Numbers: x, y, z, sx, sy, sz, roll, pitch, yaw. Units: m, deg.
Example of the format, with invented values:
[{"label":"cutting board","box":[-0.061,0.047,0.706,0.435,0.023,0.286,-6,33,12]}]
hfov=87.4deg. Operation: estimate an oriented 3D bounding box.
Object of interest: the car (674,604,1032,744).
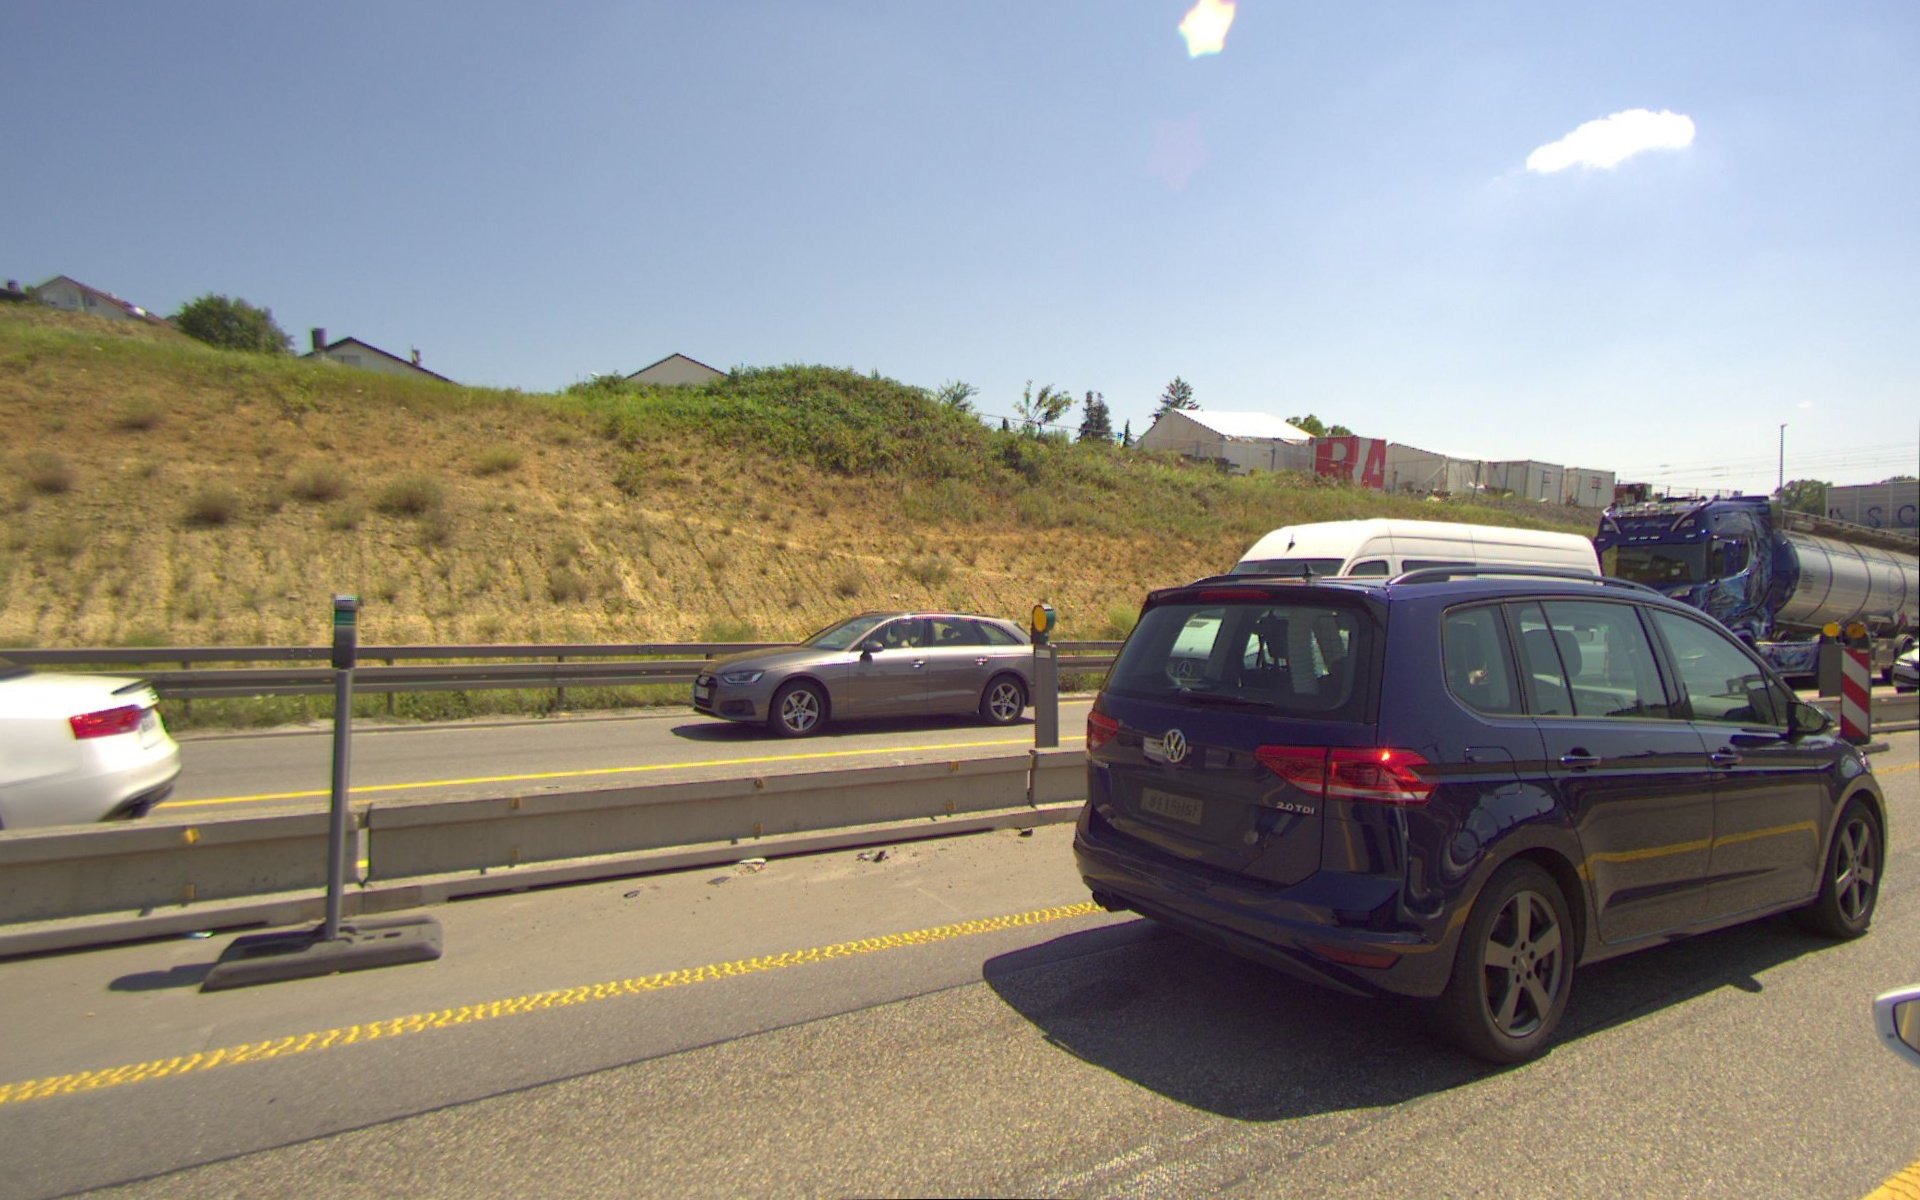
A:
[{"label":"car","box":[-1.279,0.814,12.487,4.079,1.466,1.756,1,0,-30]}]

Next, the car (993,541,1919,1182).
[{"label":"car","box":[2.550,0.688,4.669,4.598,1.741,1.767,-1,1,-31]}]

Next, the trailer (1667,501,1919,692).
[{"label":"trailer","box":[22.039,-0.028,25.163,11.308,4.069,2.337,1,0,-29]}]

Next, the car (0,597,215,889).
[{"label":"car","box":[-6.628,0.710,4.987,4.588,1.466,1.789,1,0,-34]}]

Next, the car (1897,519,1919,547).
[{"label":"car","box":[67.723,-4.664,68.960,1.930,1.807,4.548,1,0,-19]}]

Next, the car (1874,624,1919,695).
[{"label":"car","box":[21.300,1.229,21.008,4.525,1.402,1.810,1,0,-28]}]

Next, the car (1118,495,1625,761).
[{"label":"car","box":[5.348,0.304,12.548,6.925,2.642,1.985,1,0,-29]}]

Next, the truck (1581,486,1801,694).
[{"label":"truck","box":[15.795,-0.183,21.718,3.951,4.069,2.348,1,0,-29]}]
